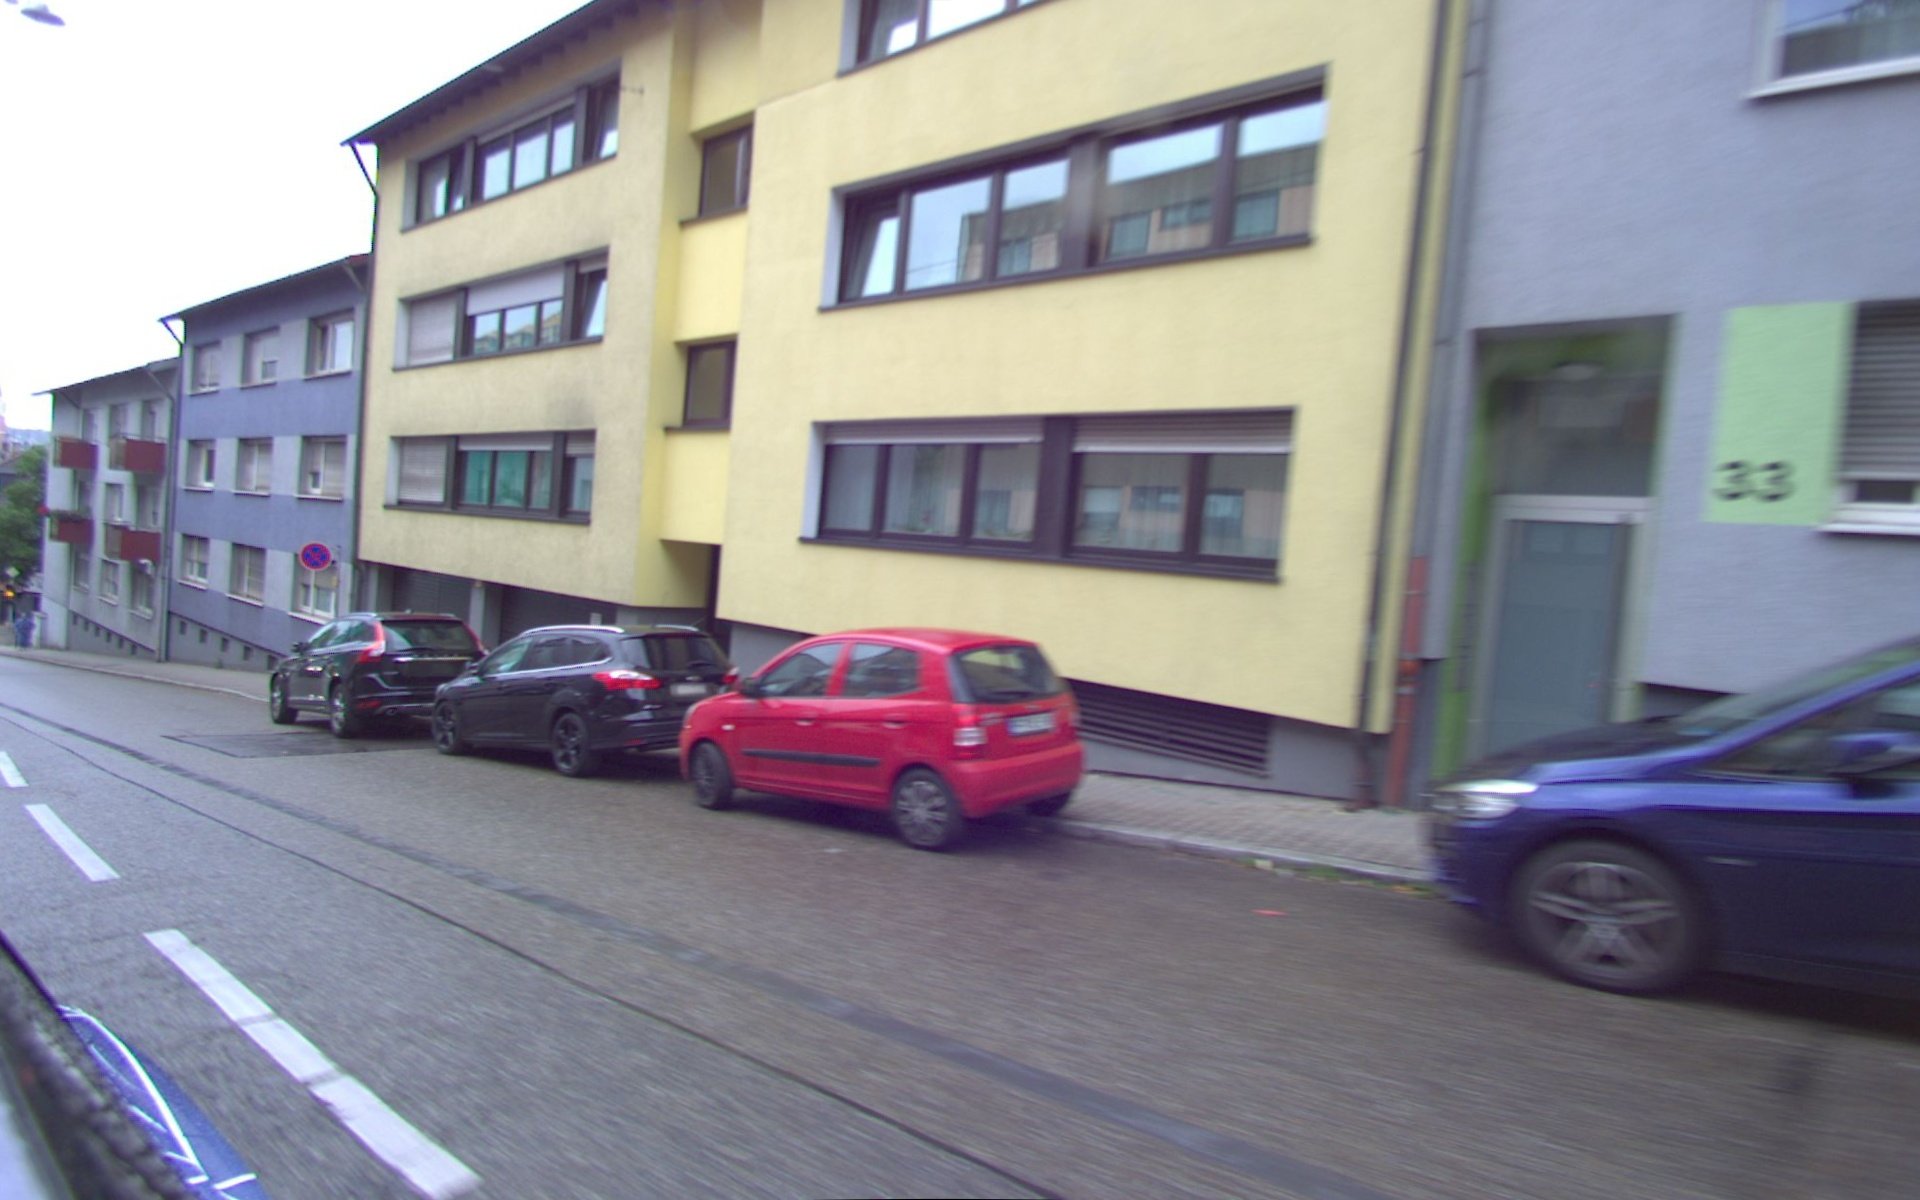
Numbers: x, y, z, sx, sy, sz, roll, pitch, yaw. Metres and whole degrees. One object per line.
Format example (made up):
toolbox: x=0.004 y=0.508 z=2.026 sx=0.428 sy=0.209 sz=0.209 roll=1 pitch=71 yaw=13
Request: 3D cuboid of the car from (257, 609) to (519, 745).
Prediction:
car: x=-8.378 y=1.016 z=14.654 sx=4.440 sy=1.662 sz=1.972 roll=-2 pitch=-3 yaw=42

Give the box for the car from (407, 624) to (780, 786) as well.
car: x=-4.243 y=1.038 z=11.435 sx=4.343 sy=1.483 sz=1.974 roll=-1 pitch=-3 yaw=39

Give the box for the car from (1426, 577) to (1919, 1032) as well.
car: x=4.464 y=0.738 z=3.958 sx=4.466 sy=1.597 sz=1.974 roll=-1 pitch=-3 yaw=39

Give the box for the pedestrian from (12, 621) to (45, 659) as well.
pedestrian: x=-39.640 y=1.709 z=43.068 sx=1.086 sy=1.553 sz=0.861 roll=-5 pitch=-3 yaw=37

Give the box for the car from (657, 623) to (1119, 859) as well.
car: x=-0.667 y=0.944 z=8.139 sx=3.487 sy=1.483 sz=1.711 roll=-1 pitch=-3 yaw=39
